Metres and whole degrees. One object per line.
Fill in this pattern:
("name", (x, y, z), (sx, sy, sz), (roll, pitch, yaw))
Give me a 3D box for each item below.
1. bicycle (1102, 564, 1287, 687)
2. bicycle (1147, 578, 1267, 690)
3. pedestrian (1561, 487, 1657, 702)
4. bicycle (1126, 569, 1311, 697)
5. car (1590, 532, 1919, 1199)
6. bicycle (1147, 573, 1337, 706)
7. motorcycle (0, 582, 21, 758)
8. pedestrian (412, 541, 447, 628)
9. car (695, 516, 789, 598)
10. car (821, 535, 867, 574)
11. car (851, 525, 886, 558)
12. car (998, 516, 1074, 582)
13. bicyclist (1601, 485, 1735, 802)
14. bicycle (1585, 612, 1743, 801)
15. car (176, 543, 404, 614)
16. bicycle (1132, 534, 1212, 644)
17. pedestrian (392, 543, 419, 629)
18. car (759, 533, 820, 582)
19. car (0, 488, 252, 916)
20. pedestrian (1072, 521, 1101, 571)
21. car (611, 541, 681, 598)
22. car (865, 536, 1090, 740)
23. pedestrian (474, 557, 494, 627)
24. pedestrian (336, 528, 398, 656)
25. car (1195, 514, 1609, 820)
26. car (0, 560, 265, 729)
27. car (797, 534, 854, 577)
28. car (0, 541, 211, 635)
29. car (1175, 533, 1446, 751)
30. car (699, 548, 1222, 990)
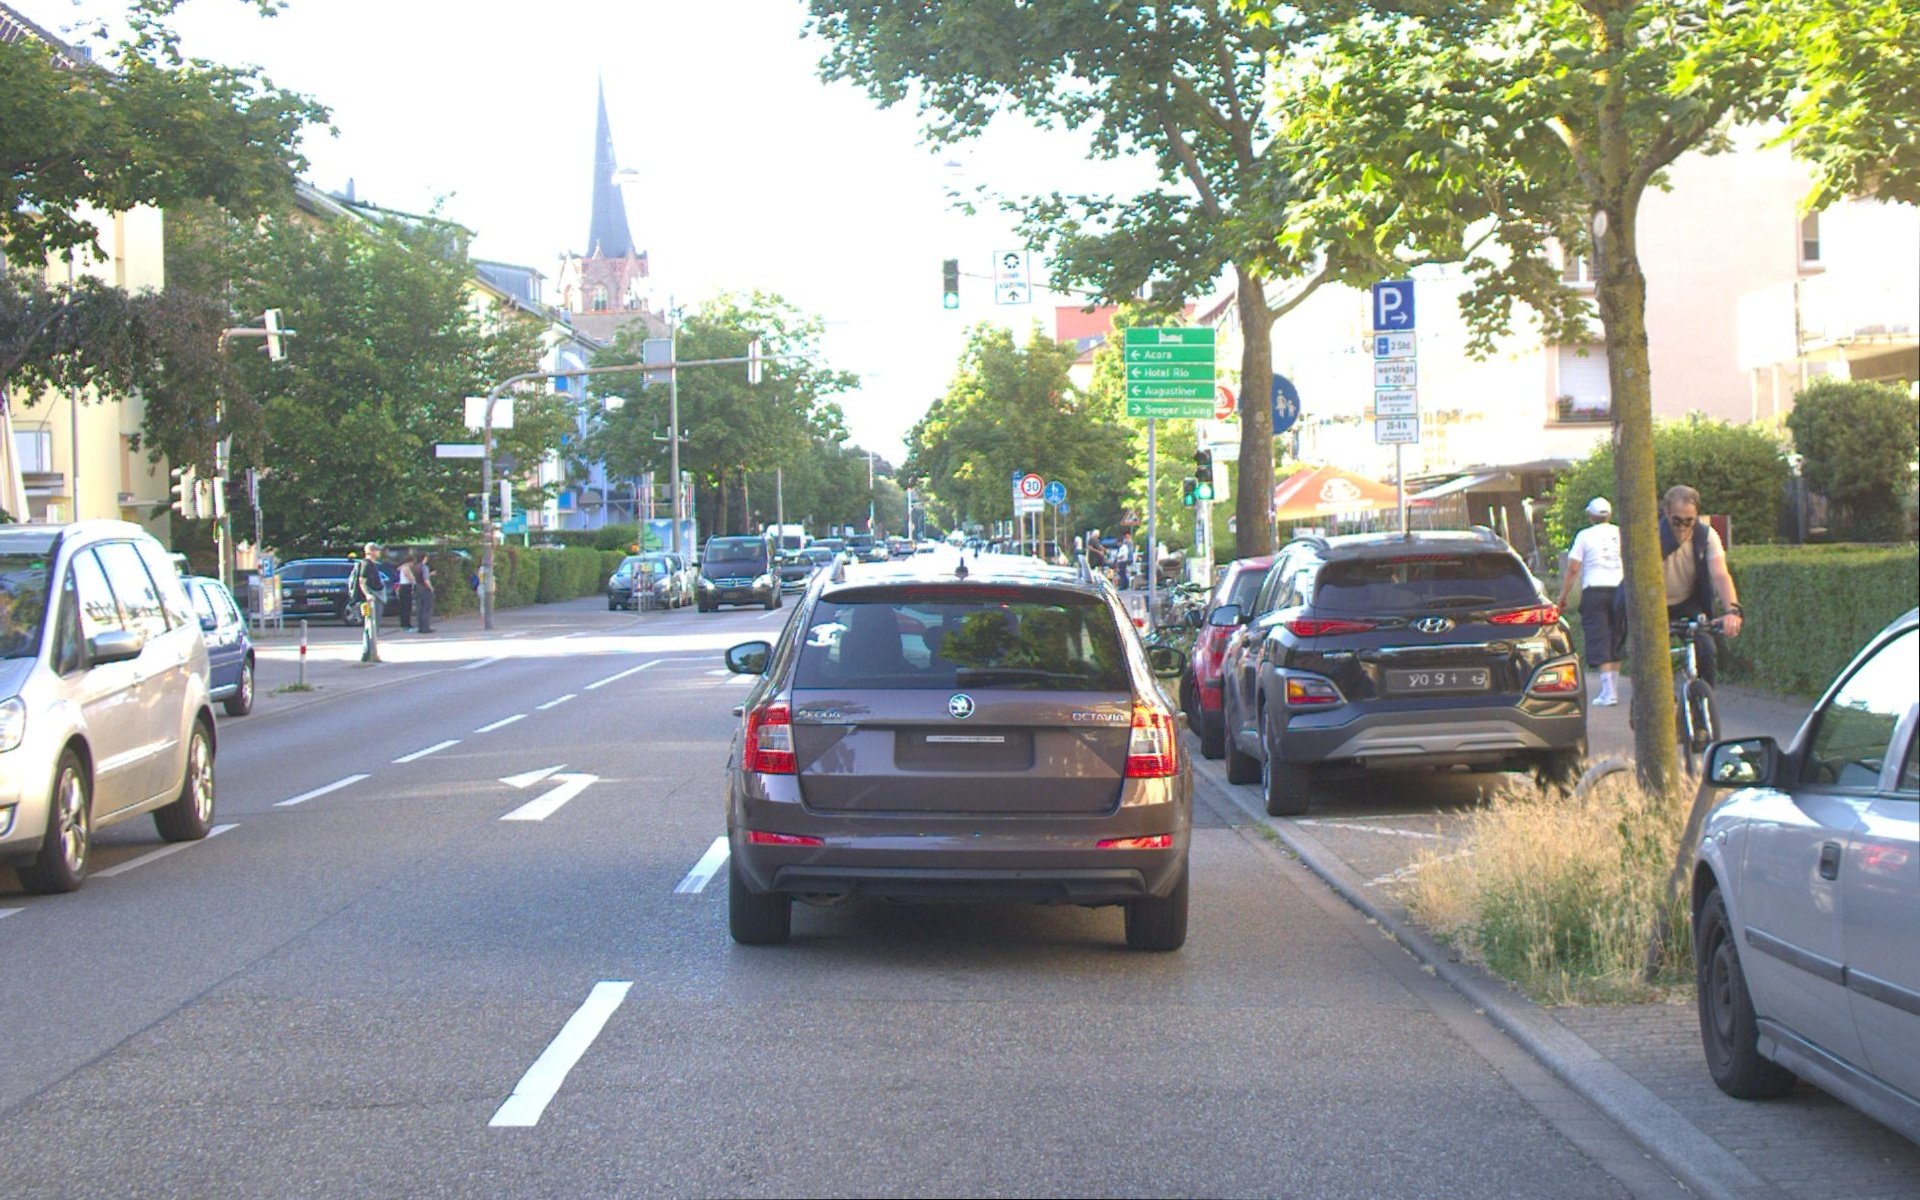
("bicycle", (2.439, 0.260, 35.664), (1.835, 1.153, 0.683), (-3, 1, 6))
("bicycle", (2.450, 0.323, 33.944), (0.619, 1.048, 1.571), (0, 1, 26))
("pedestrian", (5.426, -0.052, 28.769), (0.663, 1.743, 0.772), (-2, 1, 6))
("bicycle", (2.464, 0.313, 32.704), (1.687, 1.104, 0.517), (-3, 1, 6))
("car", (2.781, 0.581, 8.054), (1.708, 1.475, 4.269), (-3, 1, -1))
("bicycle", (2.401, 0.334, 29.338), (1.570, 1.100, 0.392), (-1, 1, 1))
("motorcycle", (-7.828, 0.515, 25.125), (2.052, 1.260, 0.765), (-1, 1, 38))
("pedestrian", (-11.119, -0.329, 72.039), (0.616, 1.791, 0.504), (-1, 1, 0))
("car", (-5.413, -1.089, 85.978), (1.993, 1.902, 4.964), (-3, 1, -1))
("car", (-4.885, -1.934, 145.168), (1.787, 1.565, 4.000), (1, 1, 0))
("car", (-5.607, -3.587, 211.136), (1.993, 2.007, 4.000), (-1, 1, 0))
("car", (2.126, -1.419, 95.437), (1.994, 1.766, 4.000), (1, 1, 3))
("bicyclist", (4.078, 0.238, 19.846), (0.581, 1.782, 0.852), (-1, 1, 0))
("bicycle", (4.034, 0.588, 19.797), (0.516, 0.984, 1.831), (-1, 1, 0))
("car", (-14.627, -0.475, 75.187), (4.634, 1.530, 1.862), (0, 1, 0))
("bicycle", (2.321, -0.125, 37.844), (0.501, 1.143, 1.959), (-3, 1, -6))
("pedestrian", (-11.683, -0.302, 72.449), (0.449, 1.791, 0.504), (-1, 1, 0))
("car", (-5.708, -1.447, 115.745), (1.830, 1.574, 4.000), (-1, 1, 0))
("car", (-4.873, 0.427, 16.854), (1.805, 1.798, 4.746), (-3, 1, -1))
("pedestrian", (4.324, -1.851, 117.286), (0.675, 1.698, 0.800), (-1, 1, 26))
("car", (-8.304, -0.833, 91.207), (1.522, 1.452, 3.585), (-1, 1, 0))
("car", (0.151, 0.262, 28.972), (1.737, 1.565, 4.000), (1, 1, 0))
("pedestrian", (-10.198, -0.172, 73.625), (0.301, 1.499, 0.640), (-1, 1, 1))
("pedestrian", (-9.387, -0.132, 54.421), (0.780, 1.981, 0.821), (-1, 1, 0))
("car", (2.530, 0.325, 20.605), (1.856, 1.576, 4.014), (-3, 1, -1))
("car", (-8.002, 0.382, 33.463), (1.648, 1.512, 4.074), (0, 1, 0))
("car", (-5.185, -1.736, 132.954), (1.993, 1.605, 4.000), (-1, 1, 1))
("car", (-17.635, -0.254, 69.309), (4.634, 1.805, 1.862), (-1, 1, 0))
("car", (2.561, 0.253, 25.901), (1.703, 1.445, 4.013), (-2, 1, 2))
("car", (-0.030, 0.543, 13.847), (1.773, 1.484, 4.311), (0, 1, -1))
